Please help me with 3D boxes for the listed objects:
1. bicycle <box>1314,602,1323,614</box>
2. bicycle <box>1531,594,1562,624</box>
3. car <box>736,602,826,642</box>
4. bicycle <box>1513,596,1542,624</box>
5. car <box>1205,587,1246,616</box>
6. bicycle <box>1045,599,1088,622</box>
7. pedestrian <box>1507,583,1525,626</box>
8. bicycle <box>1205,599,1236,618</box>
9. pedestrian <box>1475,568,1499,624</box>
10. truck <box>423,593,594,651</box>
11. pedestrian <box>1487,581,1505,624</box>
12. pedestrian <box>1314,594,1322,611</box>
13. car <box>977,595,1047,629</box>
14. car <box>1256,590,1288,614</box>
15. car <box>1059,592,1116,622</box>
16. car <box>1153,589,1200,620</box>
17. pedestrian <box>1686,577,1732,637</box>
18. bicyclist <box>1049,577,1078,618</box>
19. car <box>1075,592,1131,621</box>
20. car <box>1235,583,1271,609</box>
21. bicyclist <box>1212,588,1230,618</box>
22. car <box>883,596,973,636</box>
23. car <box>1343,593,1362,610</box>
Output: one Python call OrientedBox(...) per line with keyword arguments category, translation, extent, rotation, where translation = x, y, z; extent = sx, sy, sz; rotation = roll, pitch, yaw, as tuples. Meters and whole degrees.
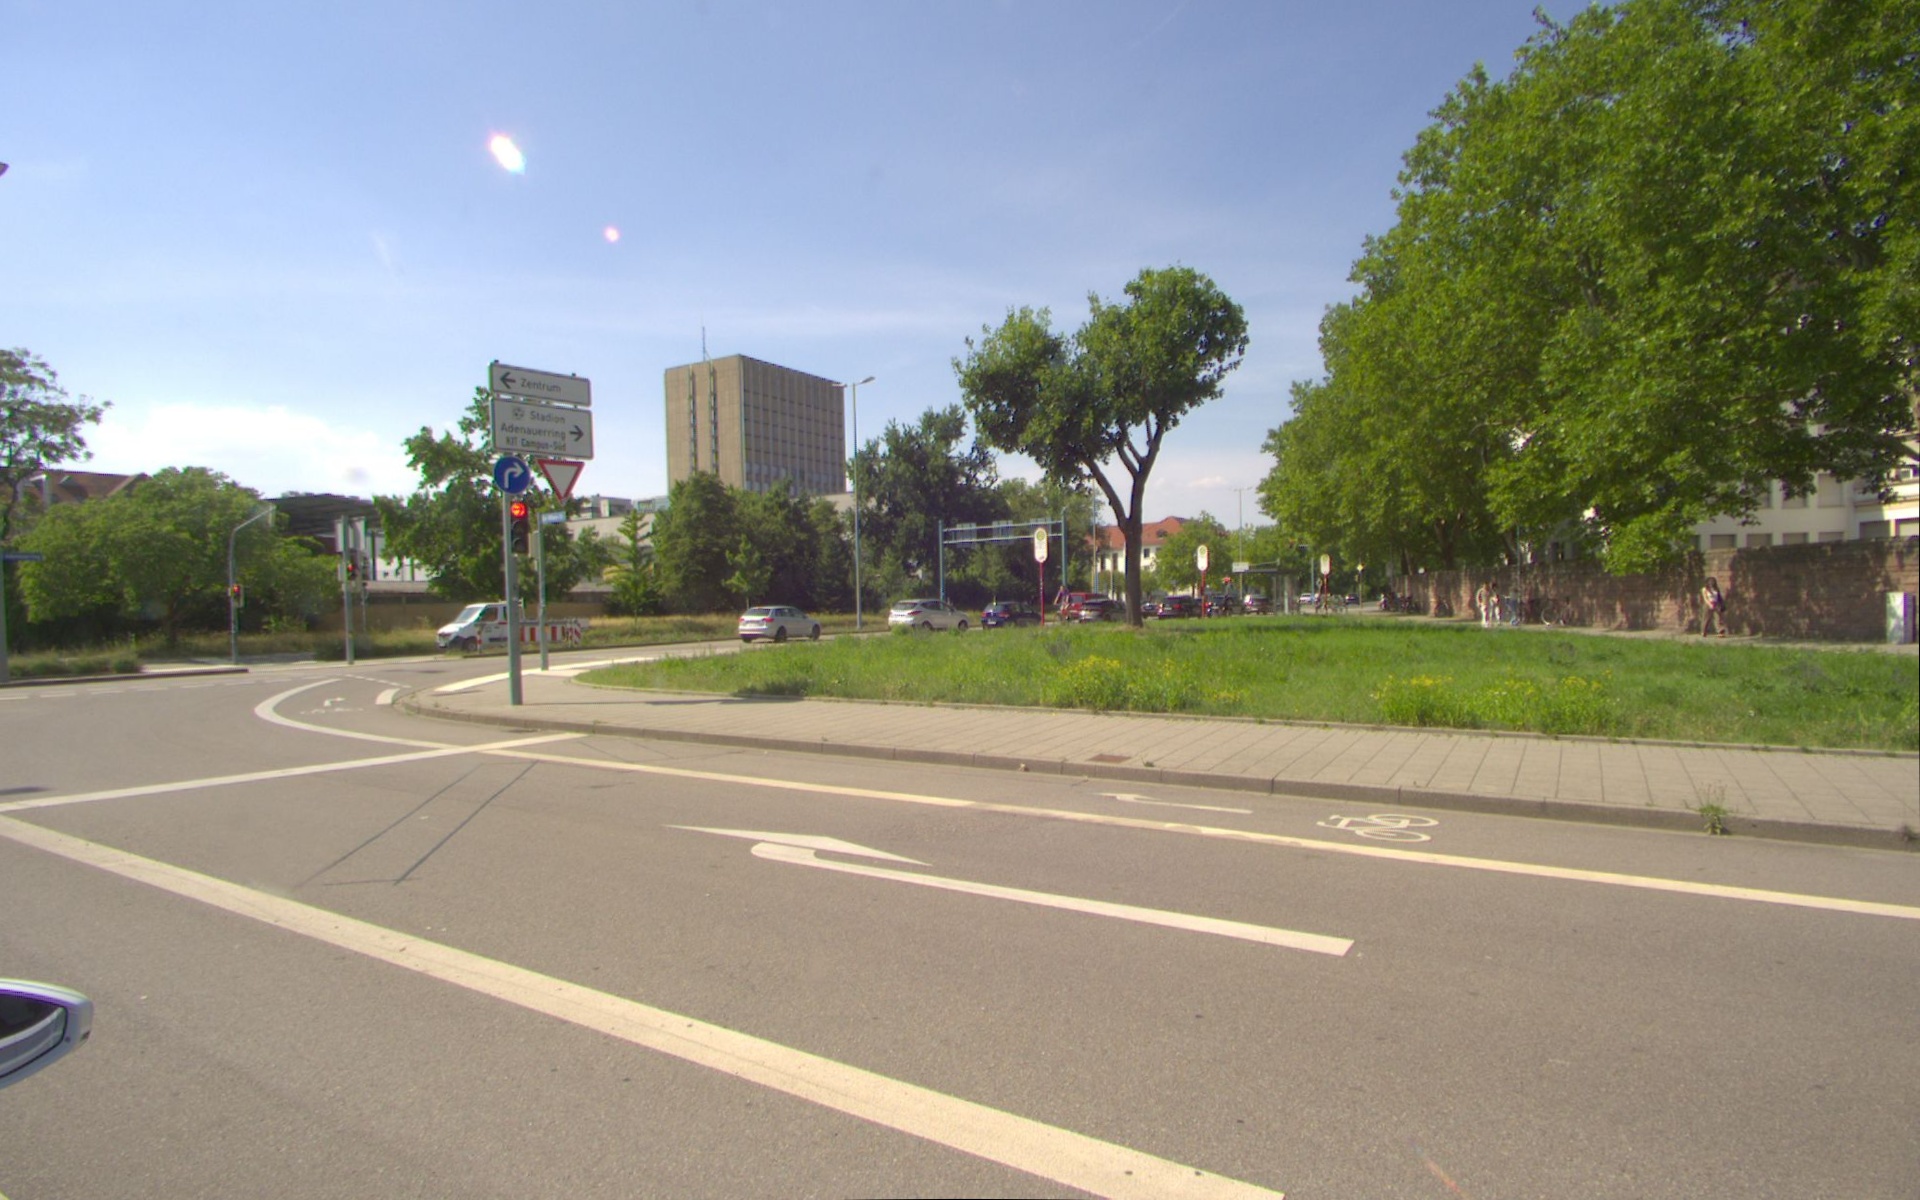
OrientedBox(category="bicycle", translation=(31.510, 0.686, 88.045), extent=(0.552, 1.066, 1.318), rotation=(-1, 1, 30))
OrientedBox(category="bicycle", translation=(21.673, 0.319, 37.021), extent=(0.439, 1.047, 1.447), rotation=(-1, 1, 6))
OrientedBox(category="car", translation=(-7.094, 0.865, 40.096), extent=(1.557, 1.439, 4.161), rotation=(-1, 1, 21))
OrientedBox(category="bicycle", translation=(21.823, 0.384, 38.513), extent=(0.439, 1.047, 1.447), rotation=(-1, 1, 6))
OrientedBox(category="car", translation=(19.958, 0.084, 75.159), extent=(1.970, 2.041, 3.980), rotation=(-1, 1, 30))
OrientedBox(category="bicycle", translation=(4.396, 0.437, 41.225), extent=(1.912, 0.899, 0.679), rotation=(-2, 1, -42))
OrientedBox(category="pedestrian", translation=(20.965, 0.155, 37.768), extent=(0.515, 1.599, 0.701), rotation=(-1, 1, 23))
OrientedBox(category="bicycle", translation=(18.069, 0.601, 69.299), extent=(0.838, 1.233, 3.462), rotation=(-1, -2, 37))
OrientedBox(category="pedestrian", translation=(19.414, -0.146, 36.900), extent=(0.513, 2.040, 0.596), rotation=(-2, 1, -9))
OrientedBox(category="truck", translation=(-20.787, 0.963, 46.544), extent=(2.380, 2.386, 7.007), rotation=(-3, 0, 33))
OrientedBox(category="pedestrian", translation=(20.298, 0.086, 37.924), extent=(0.515, 1.599, 0.701), rotation=(-1, 1, 23))
OrientedBox(category="pedestrian", translation=(31.493, 0.209, 88.030), extent=(0.552, 1.458, 0.729), rotation=(0, 1, 30))
OrientedBox(category="car", translation=(2.669, 0.593, 50.702), extent=(1.564, 1.612, 3.972), rotation=(-1, 1, 37))
OrientedBox(category="car", translation=(27.502, 0.203, 88.158), extent=(1.970, 2.039, 3.984), rotation=(-1, -2, 29))
OrientedBox(category="car", translation=(8.291, 0.442, 64.712), extent=(1.950, 1.821, 4.587), rotation=(-1, 1, 31))
OrientedBox(category="car", translation=(14.773, 0.293, 68.142), extent=(1.970, 2.041, 3.980), rotation=(-1, 1, 30))
OrientedBox(category="pedestrian", translation=(20.088, 0.195, 26.873), extent=(0.493, 1.569, 0.913), rotation=(-1, 1, -4))
OrientedBox(category="bicyclist", translation=(4.259, -0.081, 41.230), extent=(1.068, 1.659, 0.486), rotation=(-1, 1, 29))
OrientedBox(category="car", translation=(8.541, 0.370, 59.484), extent=(1.564, 1.612, 3.972), rotation=(-1, 1, 37))
OrientedBox(category="car", translation=(24.141, -0.358, 82.347), extent=(1.970, 2.041, 3.980), rotation=(-1, 1, 30))
OrientedBox(category="bicyclist", translation=(18.088, 0.213, 69.346), extent=(0.769, 2.039, 1.265), rotation=(-1, -2, 38))
OrientedBox(category="car", translation=(-1.407, 0.698, 45.371), extent=(1.691, 1.640, 4.183), rotation=(-1, 1, 40))
OrientedBox(category="car", translation=(51.827, 0.224, 132.256), extent=(1.968, 2.039, 3.987), rotation=(-1, -2, 26))
